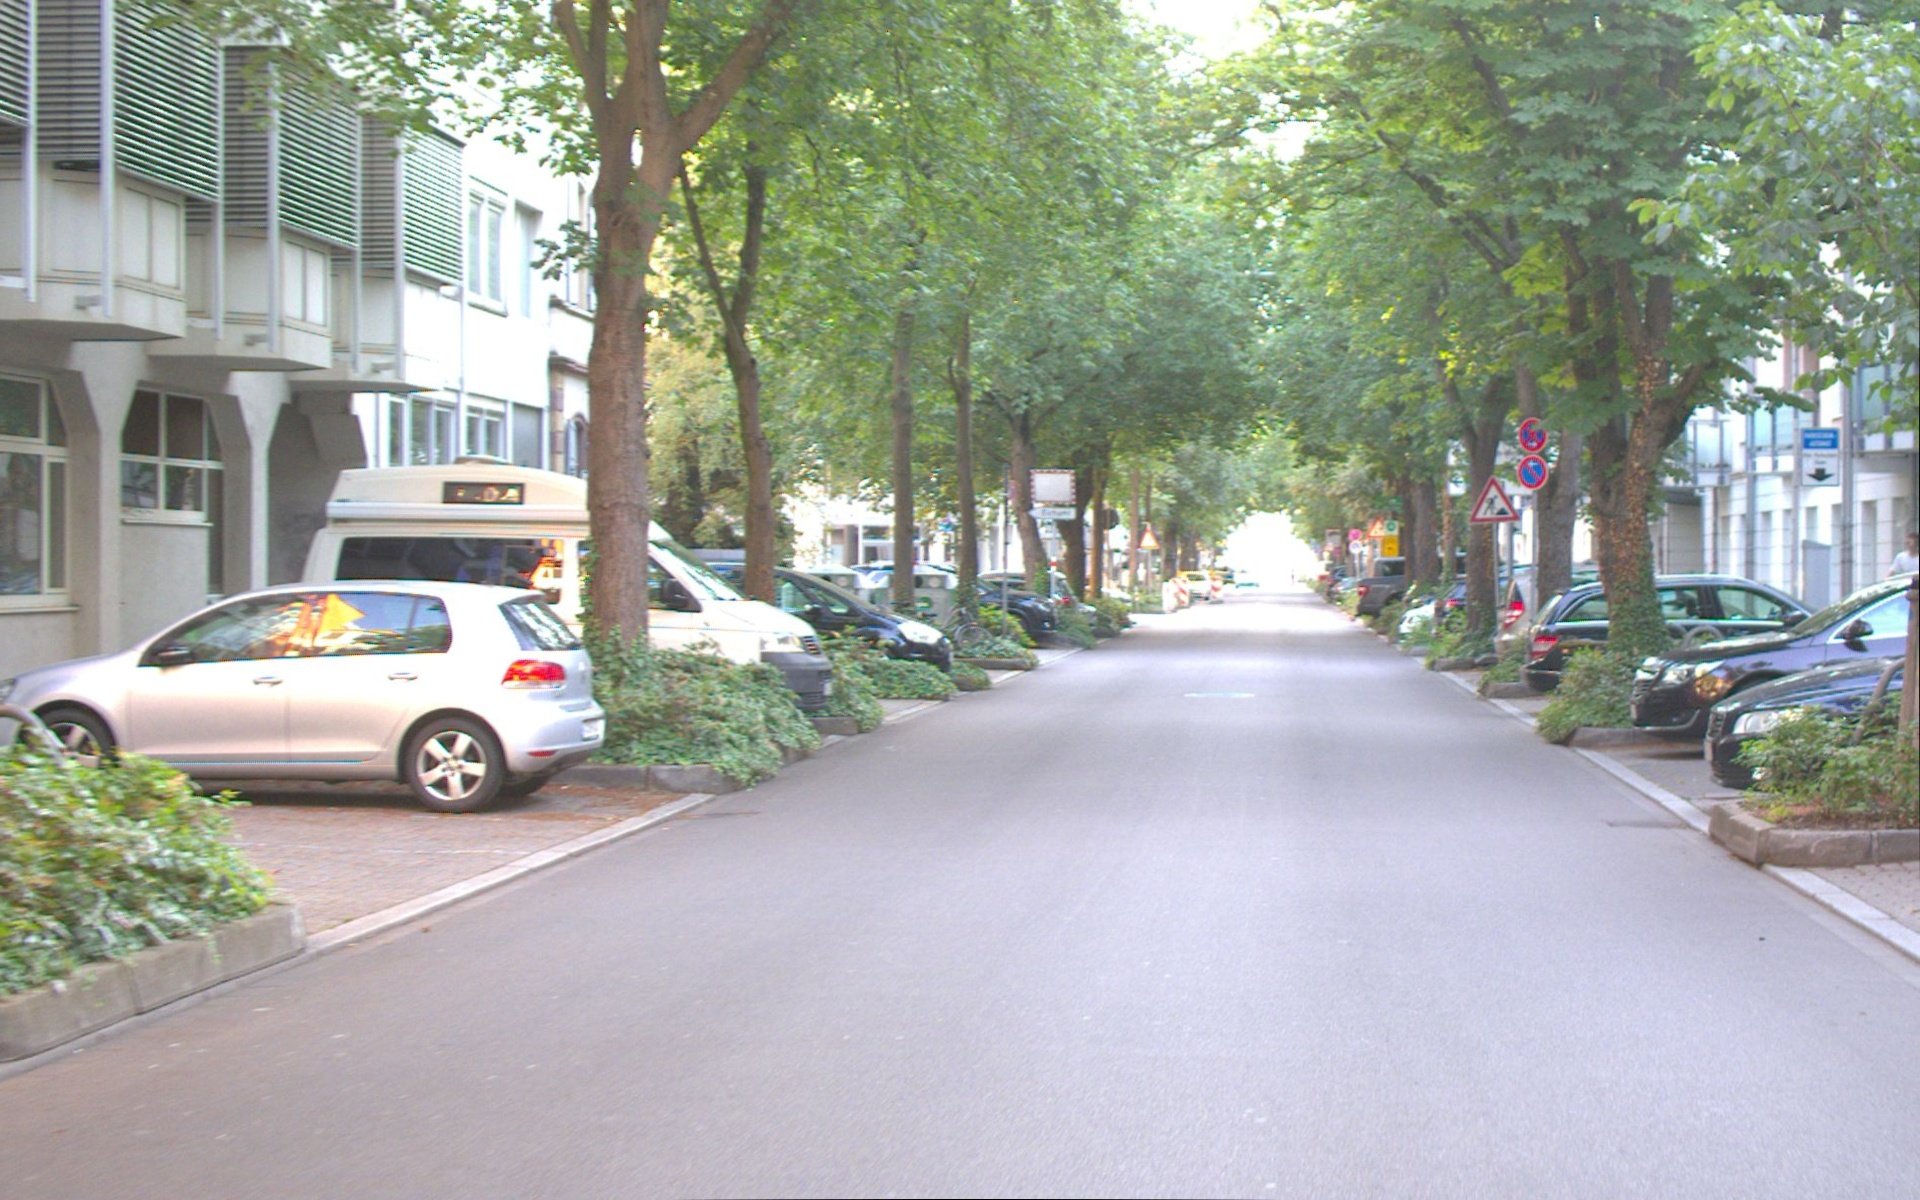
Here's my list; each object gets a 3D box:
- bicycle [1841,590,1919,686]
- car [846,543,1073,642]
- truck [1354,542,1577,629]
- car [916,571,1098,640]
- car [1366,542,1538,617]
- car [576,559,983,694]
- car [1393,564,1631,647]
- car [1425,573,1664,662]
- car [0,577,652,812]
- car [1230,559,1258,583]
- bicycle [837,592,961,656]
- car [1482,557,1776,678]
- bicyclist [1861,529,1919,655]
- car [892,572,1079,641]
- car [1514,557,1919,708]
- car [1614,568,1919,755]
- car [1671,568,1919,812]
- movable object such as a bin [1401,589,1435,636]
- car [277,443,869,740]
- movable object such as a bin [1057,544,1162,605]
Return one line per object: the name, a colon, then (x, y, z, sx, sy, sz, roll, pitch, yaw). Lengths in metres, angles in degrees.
bicycle: (12.065, 0.463, 44.121, 0.620, 1.160, 3.401, 0, 0, 0)
car: (0.015, -0.169, 70.478, 4.505, 1.949, 2.000, 1, 0, 4)
truck: (13.654, -0.396, 93.173, 5.889, 2.303, 2.212, 0, 0, 6)
car: (1.110, 0.109, 80.688, 3.989, 1.560, 1.928, 1, 1, 11)
car: (13.696, -0.576, 95.924, 4.601, 2.059, 2.197, 0, 1, 5)
car: (-2.243, 0.315, 43.611, 4.854, 1.616, 2.160, 1, 0, 6)
car: (11.219, 0.103, 70.094, 4.600, 1.463, 1.796, -3, 0, 5)
car: (10.860, 0.317, 64.078, 4.083, 1.446, 1.935, -3, 0, 0)
car: (-4.312, 0.592, 23.069, 4.169, 1.463, 1.952, 0, 1, 6)
car: (20.679, -2.129, 250.434, 2.010, 1.607, 4.119, 1, 2, 4)
bicycle: (-0.807, 0.313, 45.602, 1.553, 0.828, 0.613, 1, 0, 9)
car: (9.700, 0.245, 50.075, 3.970, 1.580, 1.916, -2, 0, 5)
bicyclist: (12.246, -0.111, 44.422, 0.970, 1.599, 1.136, 0, 1, 3)
car: (0.591, 0.140, 75.668, 3.987, 1.459, 1.922, 0, 1, 4)
car: (8.257, 0.335, 36.958, 4.460, 1.422, 2.010, -2, 0, 10)
car: (7.819, 0.438, 28.109, 4.679, 1.383, 2.000, -2, 0, 7)
car: (7.045, 0.491, 21.690, 4.841, 1.443, 2.041, -2, 0, 8)
movable object such as a bin: (10.824, 0.295, 81.228, 0.761, 1.080, 0.785, -1, 0, 6)
car: (-3.450, -0.098, 31.253, 5.004, 2.564, 2.120, 0, 1, 6)
movable object such as a bin: (5.942, -1.035, 136.834, 4.046, 2.375, 2.784, 0, 1, 0)
